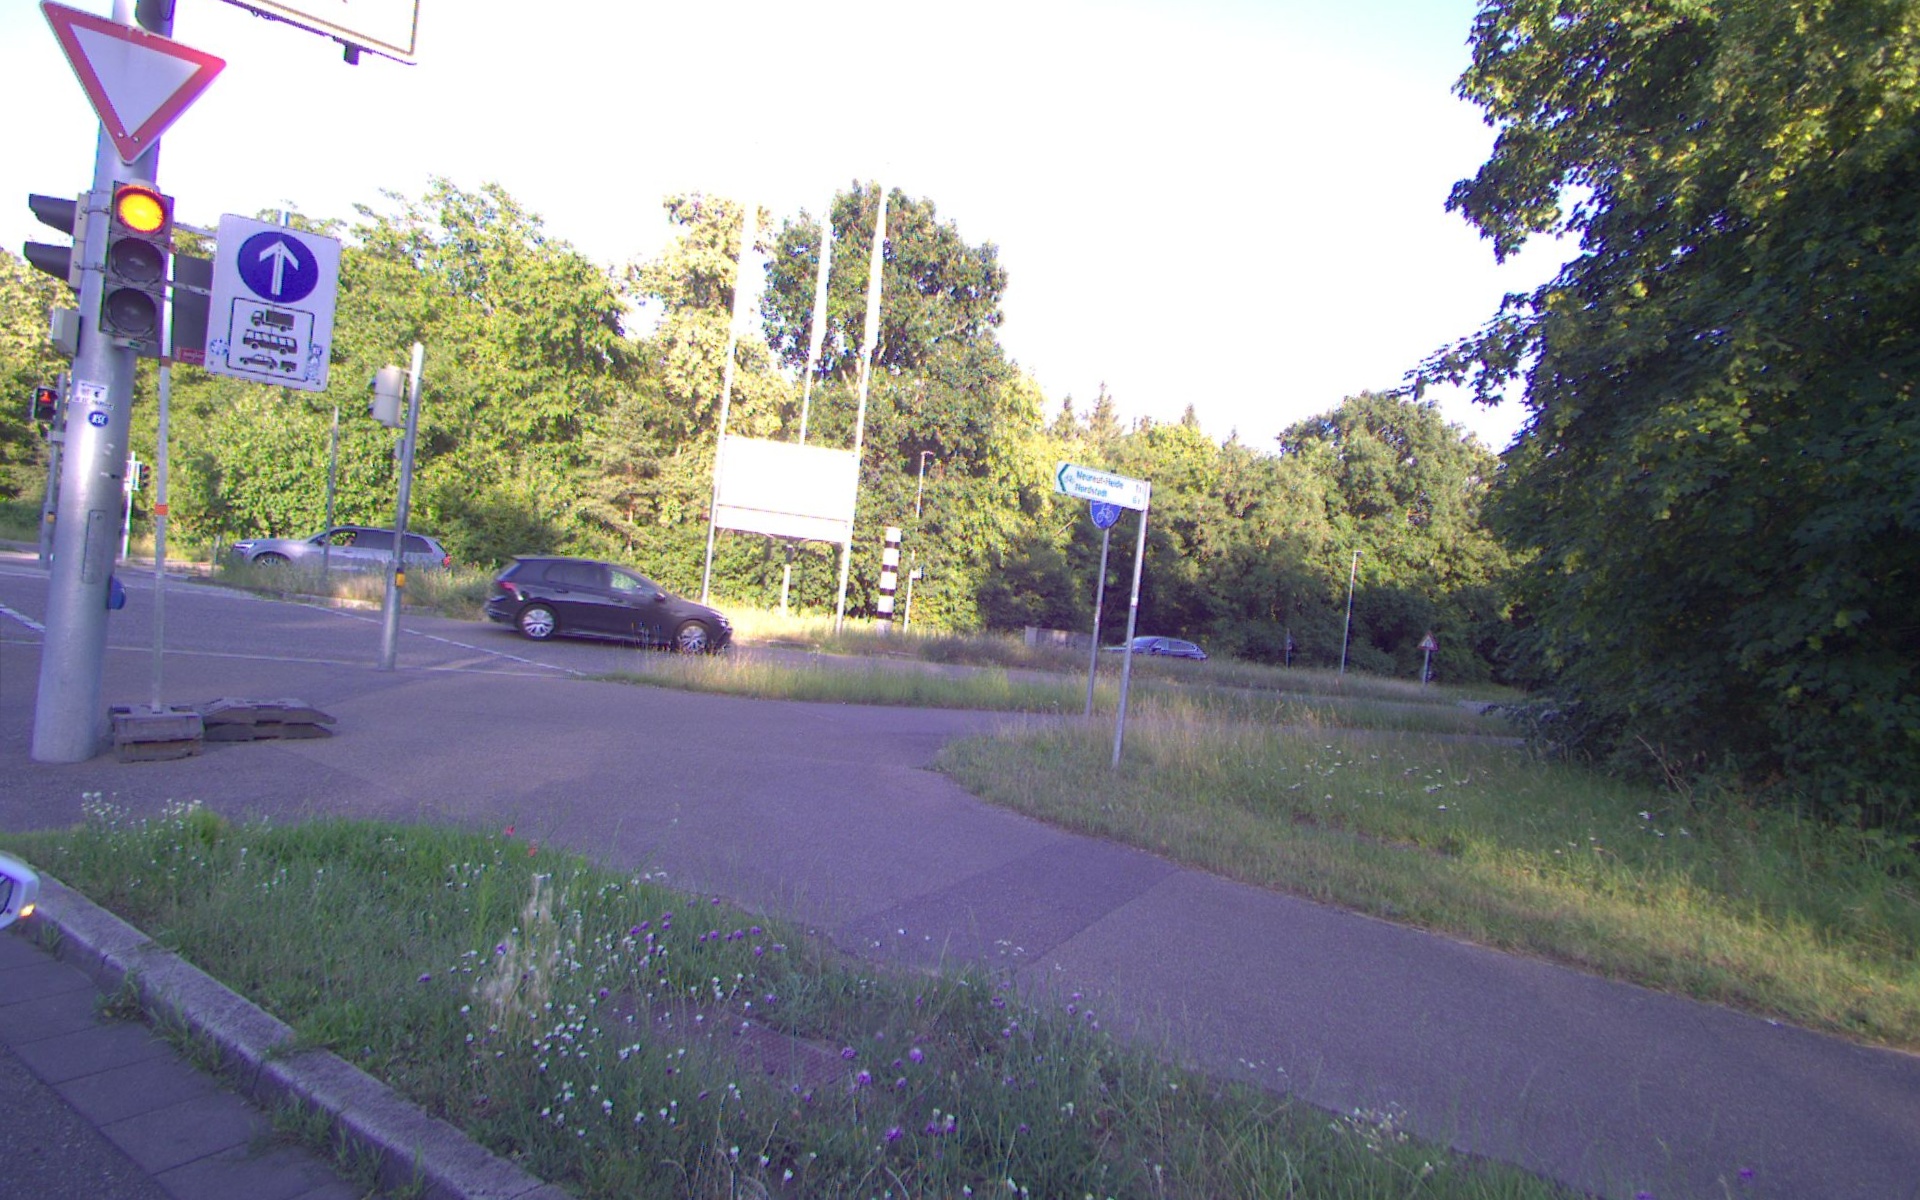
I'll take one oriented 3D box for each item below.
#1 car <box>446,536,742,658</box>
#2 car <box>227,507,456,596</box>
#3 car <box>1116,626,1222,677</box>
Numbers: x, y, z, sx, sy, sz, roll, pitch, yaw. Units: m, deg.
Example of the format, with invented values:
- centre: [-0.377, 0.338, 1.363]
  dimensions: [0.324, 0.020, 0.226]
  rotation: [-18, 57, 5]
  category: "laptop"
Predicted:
- centre: [-6.493, -0.026, 17.951]
  dimensions: [4.625, 1.548, 1.985]
  rotation: [7, -1, -29]
  category: "car"
- centre: [-15.918, -1.210, 26.000]
  dimensions: [4.790, 1.618, 1.980]
  rotation: [7, 0, -37]
  category: "car"
- centre: [8.023, 1.993, 38.568]
  dimensions: [3.840, 1.507, 1.754]
  rotation: [7, -1, -36]
  category: "car"
